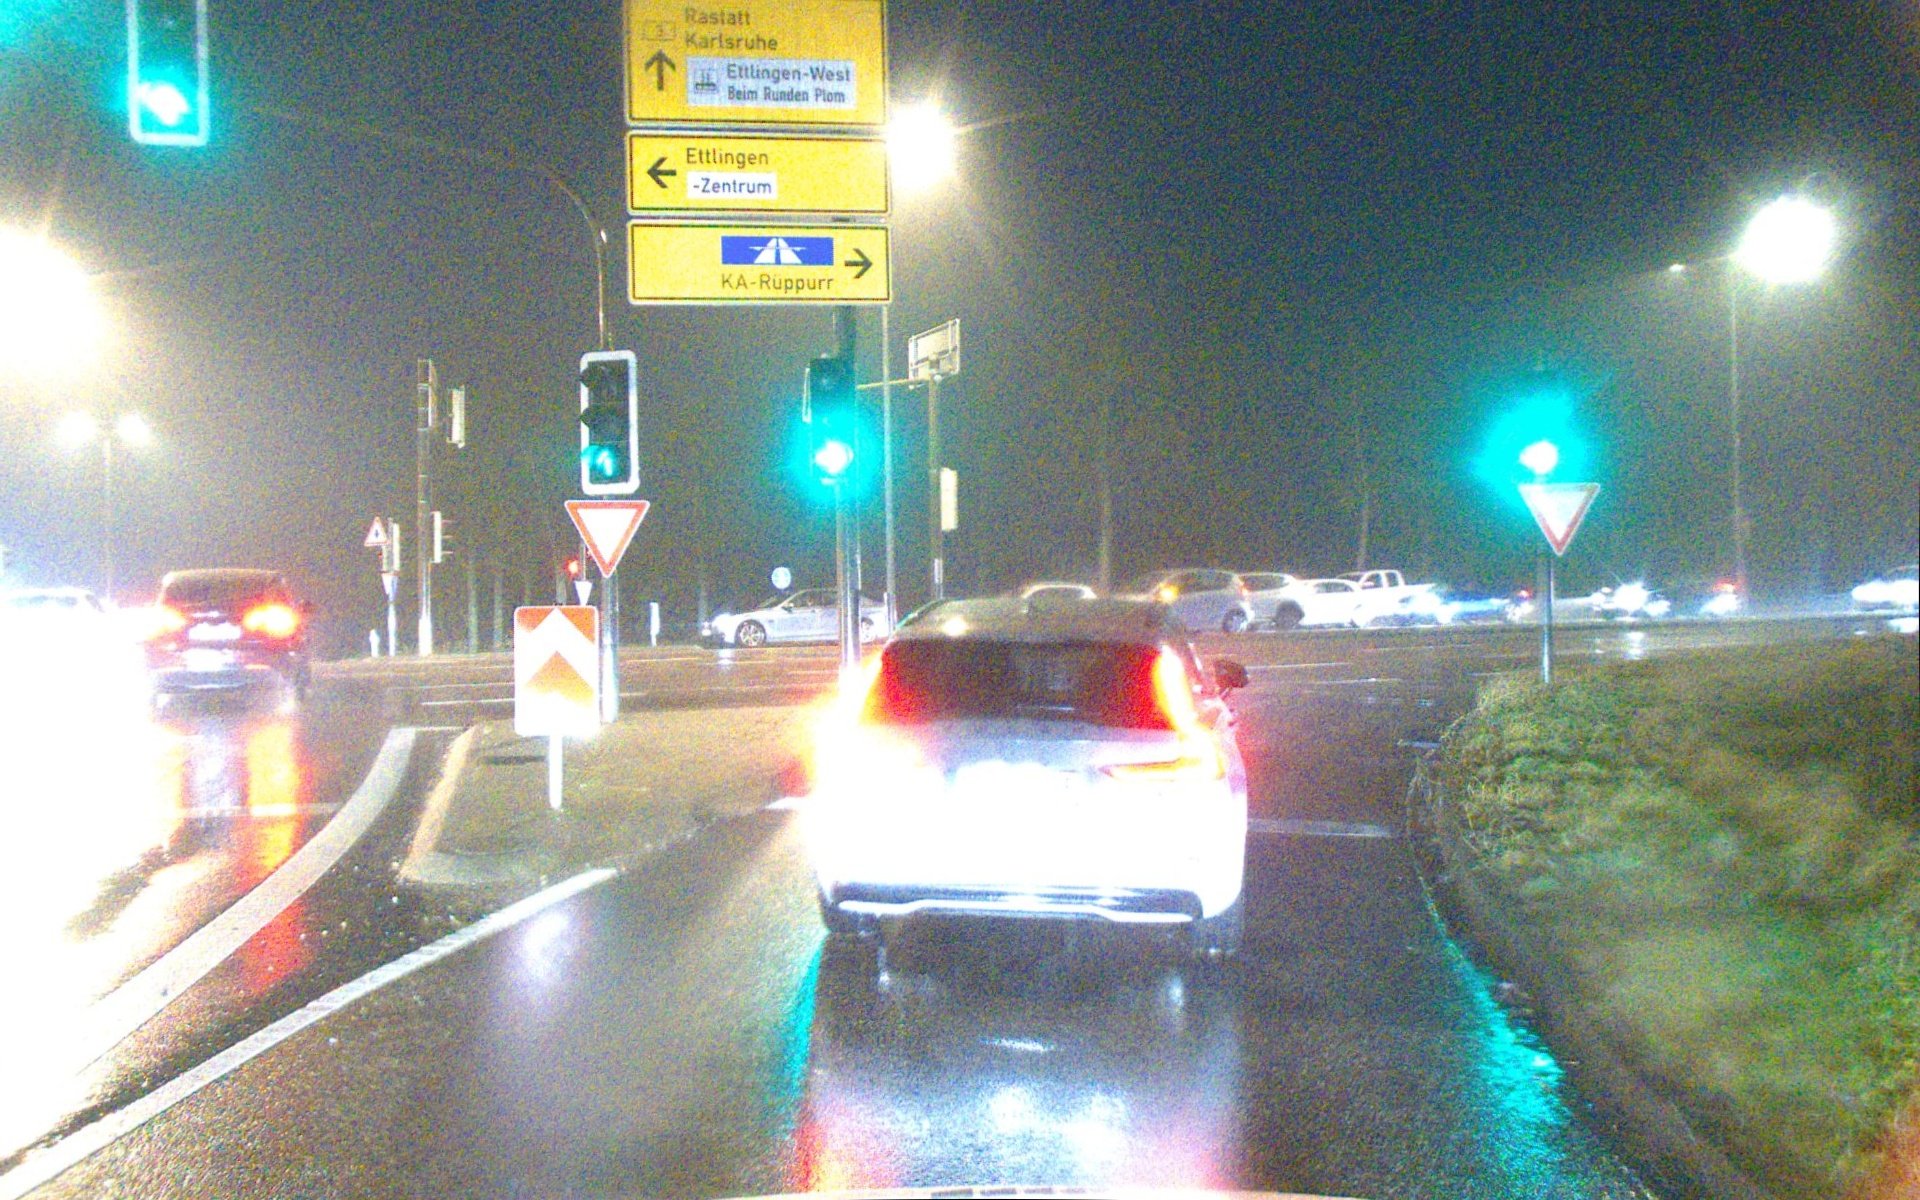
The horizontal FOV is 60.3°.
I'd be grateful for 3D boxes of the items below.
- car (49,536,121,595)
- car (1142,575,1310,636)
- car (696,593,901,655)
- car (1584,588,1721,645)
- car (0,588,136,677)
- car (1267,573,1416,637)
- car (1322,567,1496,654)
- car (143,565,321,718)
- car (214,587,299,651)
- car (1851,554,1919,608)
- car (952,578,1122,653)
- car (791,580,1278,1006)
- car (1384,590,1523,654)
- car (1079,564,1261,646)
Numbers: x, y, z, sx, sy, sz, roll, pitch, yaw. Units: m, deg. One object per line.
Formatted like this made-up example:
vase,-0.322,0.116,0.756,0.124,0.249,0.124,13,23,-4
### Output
car,-33.543,-1.288,63.479,1.748,2.115,3.979,1,0,-18
car,6.827,0.156,42.402,3.991,1.513,1.705,1,-1,-24
car,-3.946,0.588,40.671,4.730,1.452,1.750,1,-1,-27
car,20.994,0.505,50.151,3.918,1.695,1.788,1,-1,-28
car,-15.991,0.559,29.598,1.629,1.470,3.773,0,0,-17
car,11.293,0.159,48.894,4.187,1.830,1.788,1,-1,-28
car,14.822,0.363,54.554,5.524,2.757,2.237,1,-1,-27
car,-9.154,0.435,20.652,1.805,1.682,4.442,1,0,-26
car,-17.189,0.452,40.547,1.674,1.489,4.288,0,0,-20
car,29.497,-0.595,50.543,4.344,1.510,1.767,-1,-2,-26
car,2.055,0.416,43.721,4.221,1.880,1.749,1,-1,-28
car,0.573,0.656,8.075,1.758,1.477,4.272,0,1,9
car,15.168,0.678,50.822,4.064,1.880,1.749,1,-1,-28
car,4.841,0.085,38.034,3.841,1.755,1.751,-1,1,-26
